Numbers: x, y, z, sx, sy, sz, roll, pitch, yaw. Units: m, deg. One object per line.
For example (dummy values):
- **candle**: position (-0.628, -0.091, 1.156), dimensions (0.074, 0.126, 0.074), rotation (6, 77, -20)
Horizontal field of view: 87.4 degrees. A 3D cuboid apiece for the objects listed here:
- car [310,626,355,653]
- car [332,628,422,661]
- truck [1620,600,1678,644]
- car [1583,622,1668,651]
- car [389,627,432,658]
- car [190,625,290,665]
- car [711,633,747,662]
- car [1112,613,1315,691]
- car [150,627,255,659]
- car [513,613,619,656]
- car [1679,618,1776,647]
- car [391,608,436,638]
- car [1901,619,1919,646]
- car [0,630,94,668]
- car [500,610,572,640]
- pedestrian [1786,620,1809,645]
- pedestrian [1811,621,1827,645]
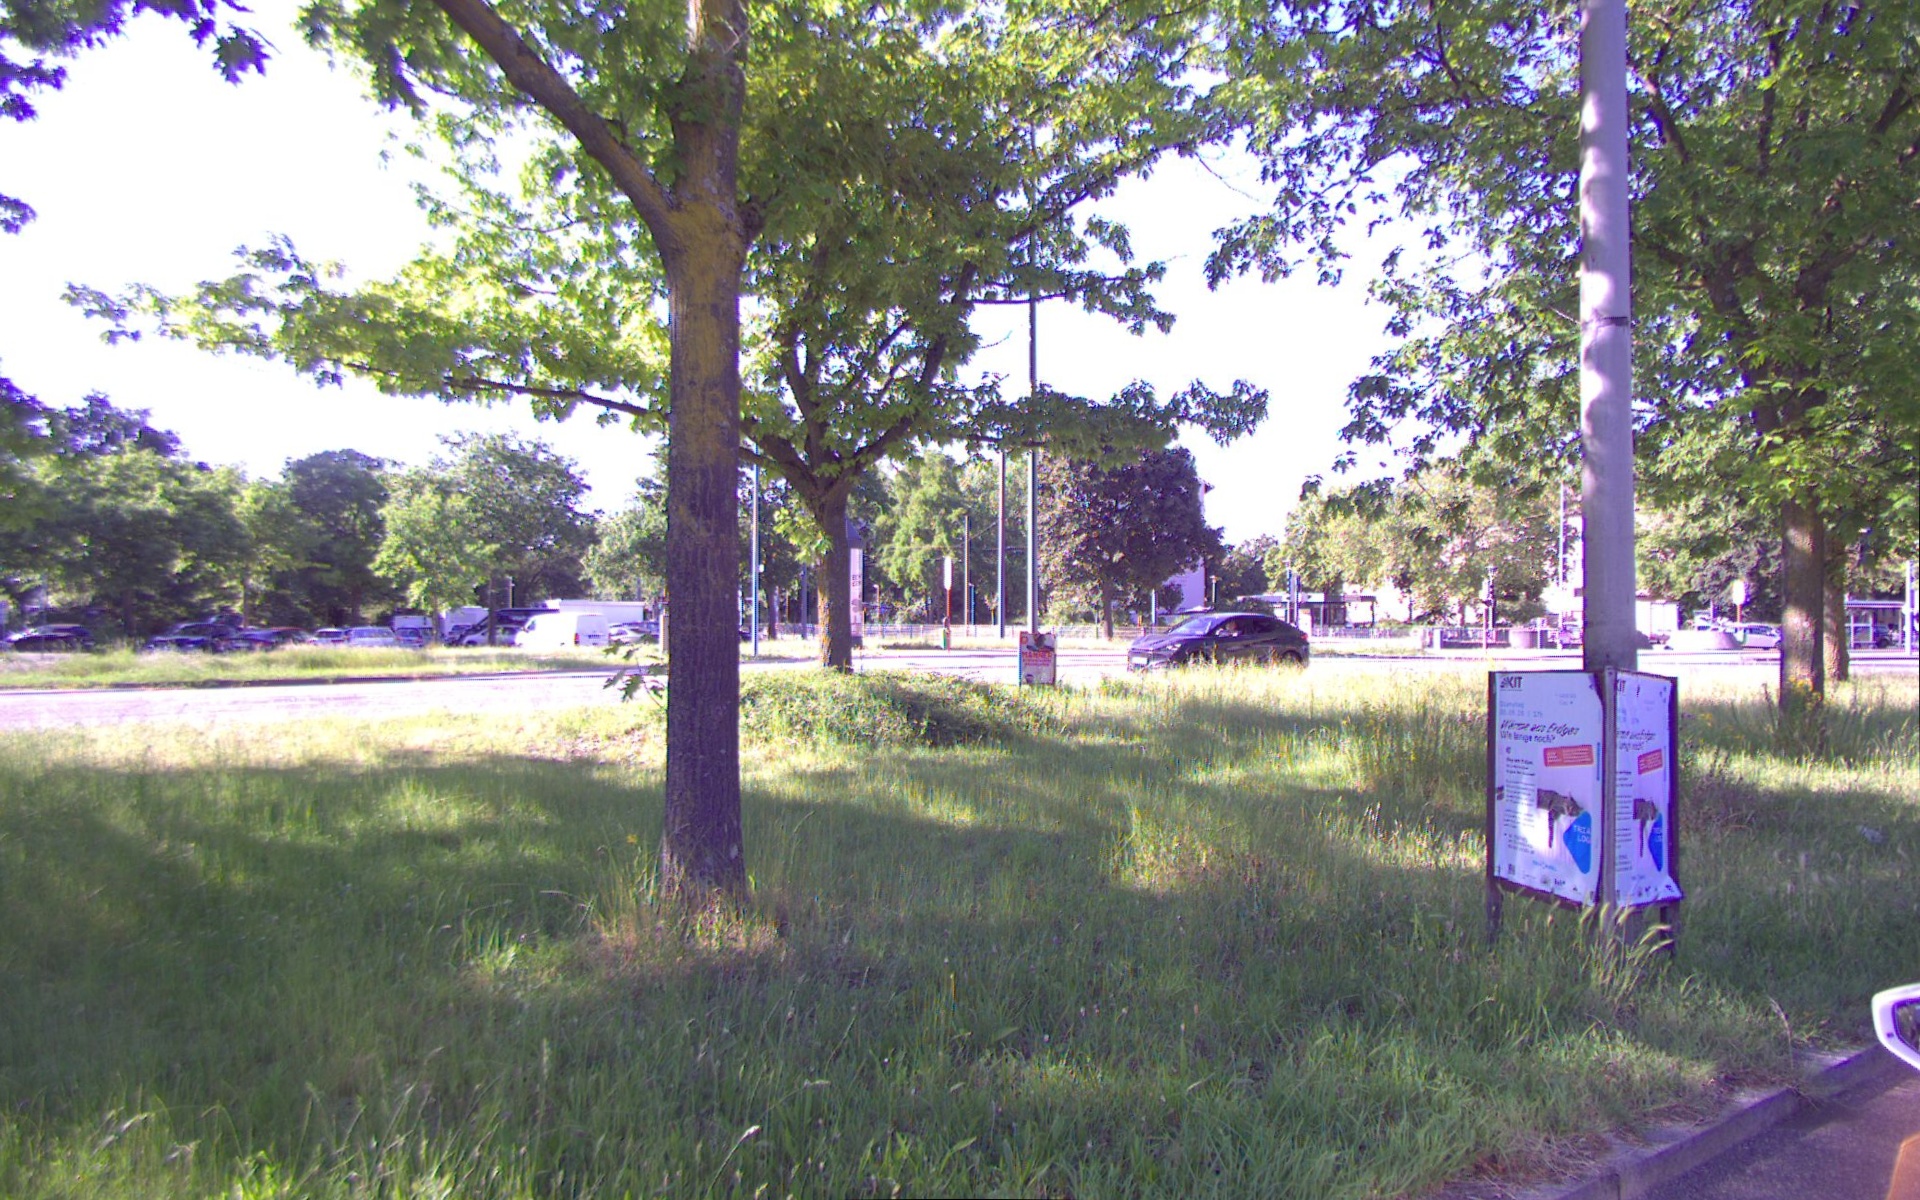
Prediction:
- **car**: position (-29.292, 1.823, 46.864), dimensions (1.603, 1.194, 3.047), rotation (1, -1, -35)
- **car**: position (-21.824, 1.633, 37.633), dimensions (2.769, 1.171, 1.326), rotation (1, -1, -40)
- **truck**: position (46.642, 1.472, 68.090), dimensions (1.960, 2.842, 4.002), rotation (0, -1, 15)
- **car**: position (41.419, 2.244, 62.566), dimensions (3.919, 1.706, 2.001), rotation (0, -1, 9)
- **car**: position (-26.699, 2.027, 48.778), dimensions (1.602, 1.438, 3.050), rotation (1, -1, -33)
- **car**: position (-25.231, 1.562, 35.243), dimensions (2.769, 1.323, 1.326), rotation (1, -1, -40)
- **car**: position (-12.029, 2.452, 52.487), dimensions (1.589, 1.438, 3.073), rotation (0, -1, -8)
- **car**: position (5.849, 1.140, 23.079), dimensions (4.400, 1.669, 1.821), rotation (1, -1, -26)
- **car**: position (-26.840, 1.503, 35.628), dimensions (1.315, 1.078, 2.777), rotation (-1, -1, 42)
- **car**: position (-17.216, 1.473, 43.800), dimensions (4.670, 1.762, 2.024), rotation (0, -1, 34)
- **car**: position (46.909, 1.959, 61.466), dimensions (4.233, 1.706, 2.001), rotation (0, -1, 9)
- **car**: position (-32.487, 1.363, 59.785), dimensions (1.865, 1.691, 3.733), rotation (1, -1, -22)
- **car**: position (71.707, 2.385, 73.257), dimensions (1.910, 2.040, 4.155), rotation (1, -1, -31)
- **car**: position (-47.657, 2.496, 51.903), dimensions (1.966, 1.817, 3.990), rotation (0, -1, 32)
- **car**: position (-24.128, 1.411, 57.288), dimensions (3.698, 1.691, 1.883), rotation (1, -1, -23)
- **pedestrian**: position (53.784, 2.085, 64.495), dimensions (0.781, 1.629, 0.923), rotation (0, -1, 9)
- **pedestrian**: position (50.598, 1.941, 59.152), dimensions (0.614, 1.409, 0.416), rotation (0, -1, -3)
